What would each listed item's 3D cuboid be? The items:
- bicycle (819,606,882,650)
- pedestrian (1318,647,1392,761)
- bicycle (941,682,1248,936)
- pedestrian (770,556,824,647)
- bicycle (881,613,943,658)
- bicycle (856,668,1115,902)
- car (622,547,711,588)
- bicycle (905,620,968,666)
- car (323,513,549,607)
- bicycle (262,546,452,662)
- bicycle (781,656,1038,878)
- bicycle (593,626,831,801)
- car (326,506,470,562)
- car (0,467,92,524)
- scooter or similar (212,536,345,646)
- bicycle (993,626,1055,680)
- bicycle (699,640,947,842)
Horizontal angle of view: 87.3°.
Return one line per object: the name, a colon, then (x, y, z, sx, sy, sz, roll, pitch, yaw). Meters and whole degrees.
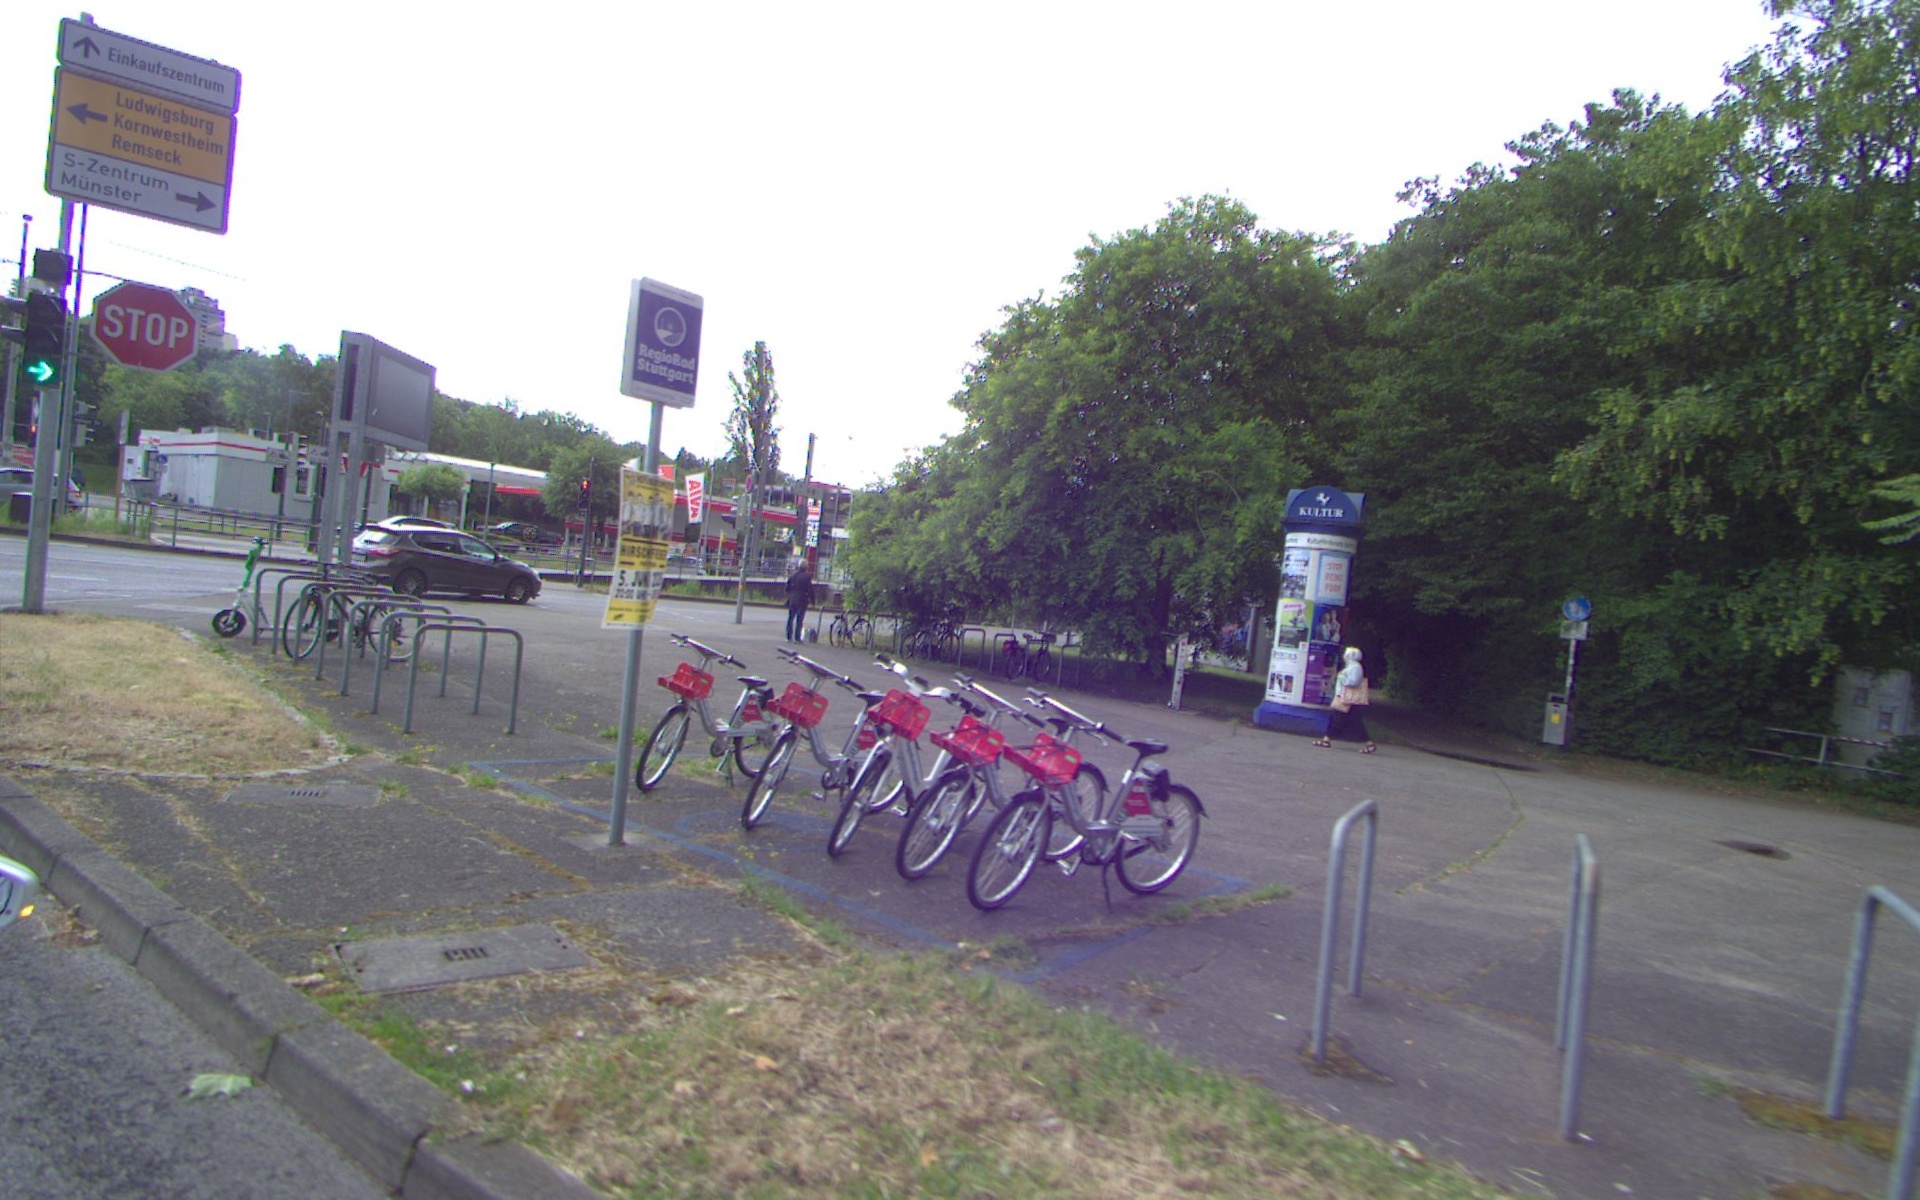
bicycle: (-2.490, 0.653, 23.039, 0.354, 0.909, 1.717, 8, 1, 32)
pedestrian: (5.850, 1.529, 14.899, 0.765, 1.551, 0.510, 8, 2, 35)
bicycle: (0.774, 1.056, 5.353, 1.770, 1.125, 0.421, 6, 1, -39)
pedestrian: (-3.523, 0.042, 21.739, 0.762, 1.842, 0.689, 7, 2, 10)
bicycle: (-1.049, 0.789, 22.270, 0.369, 0.910, 1.716, 8, 2, 32)
bicycle: (0.222, 1.007, 5.890, 0.448, 1.125, 1.778, 7, 0, 37)
car: (-15.253, -1.680, 52.420, 1.698, 1.549, 4.017, 8, 1, 45)
bicycle: (-0.493, 0.943, 21.809, 0.369, 0.909, 1.717, 8, 1, 32)
car: (-11.488, -0.826, 22.355, 1.702, 1.549, 4.144, 8, 0, 26)
bicycle: (-6.667, 0.082, 11.212, 0.471, 1.125, 1.691, 10, 2, 32)
bicycle: (-0.239, 0.964, 6.278, 0.570, 1.125, 1.780, 7, 0, 32)
bicycle: (-1.822, 0.838, 7.678, 0.544, 1.124, 1.780, 7, 0, 32)
car: (-23.726, -2.755, 42.601, 4.909, 1.620, 1.990, 7, 1, -44)
car: (-31.334, -3.569, 33.250, 1.680, 1.527, 3.764, 8, 1, 41)
scooter or similar: (-8.041, -0.087, 11.910, 0.289, 1.184, 1.180, 8, 1, 40)
bicycle: (1.317, 1.088, 20.373, 0.369, 1.004, 1.717, 8, 1, 32)
bicycle: (-0.843, 0.889, 6.737, 0.532, 1.124, 1.780, 5, -1, 32)
